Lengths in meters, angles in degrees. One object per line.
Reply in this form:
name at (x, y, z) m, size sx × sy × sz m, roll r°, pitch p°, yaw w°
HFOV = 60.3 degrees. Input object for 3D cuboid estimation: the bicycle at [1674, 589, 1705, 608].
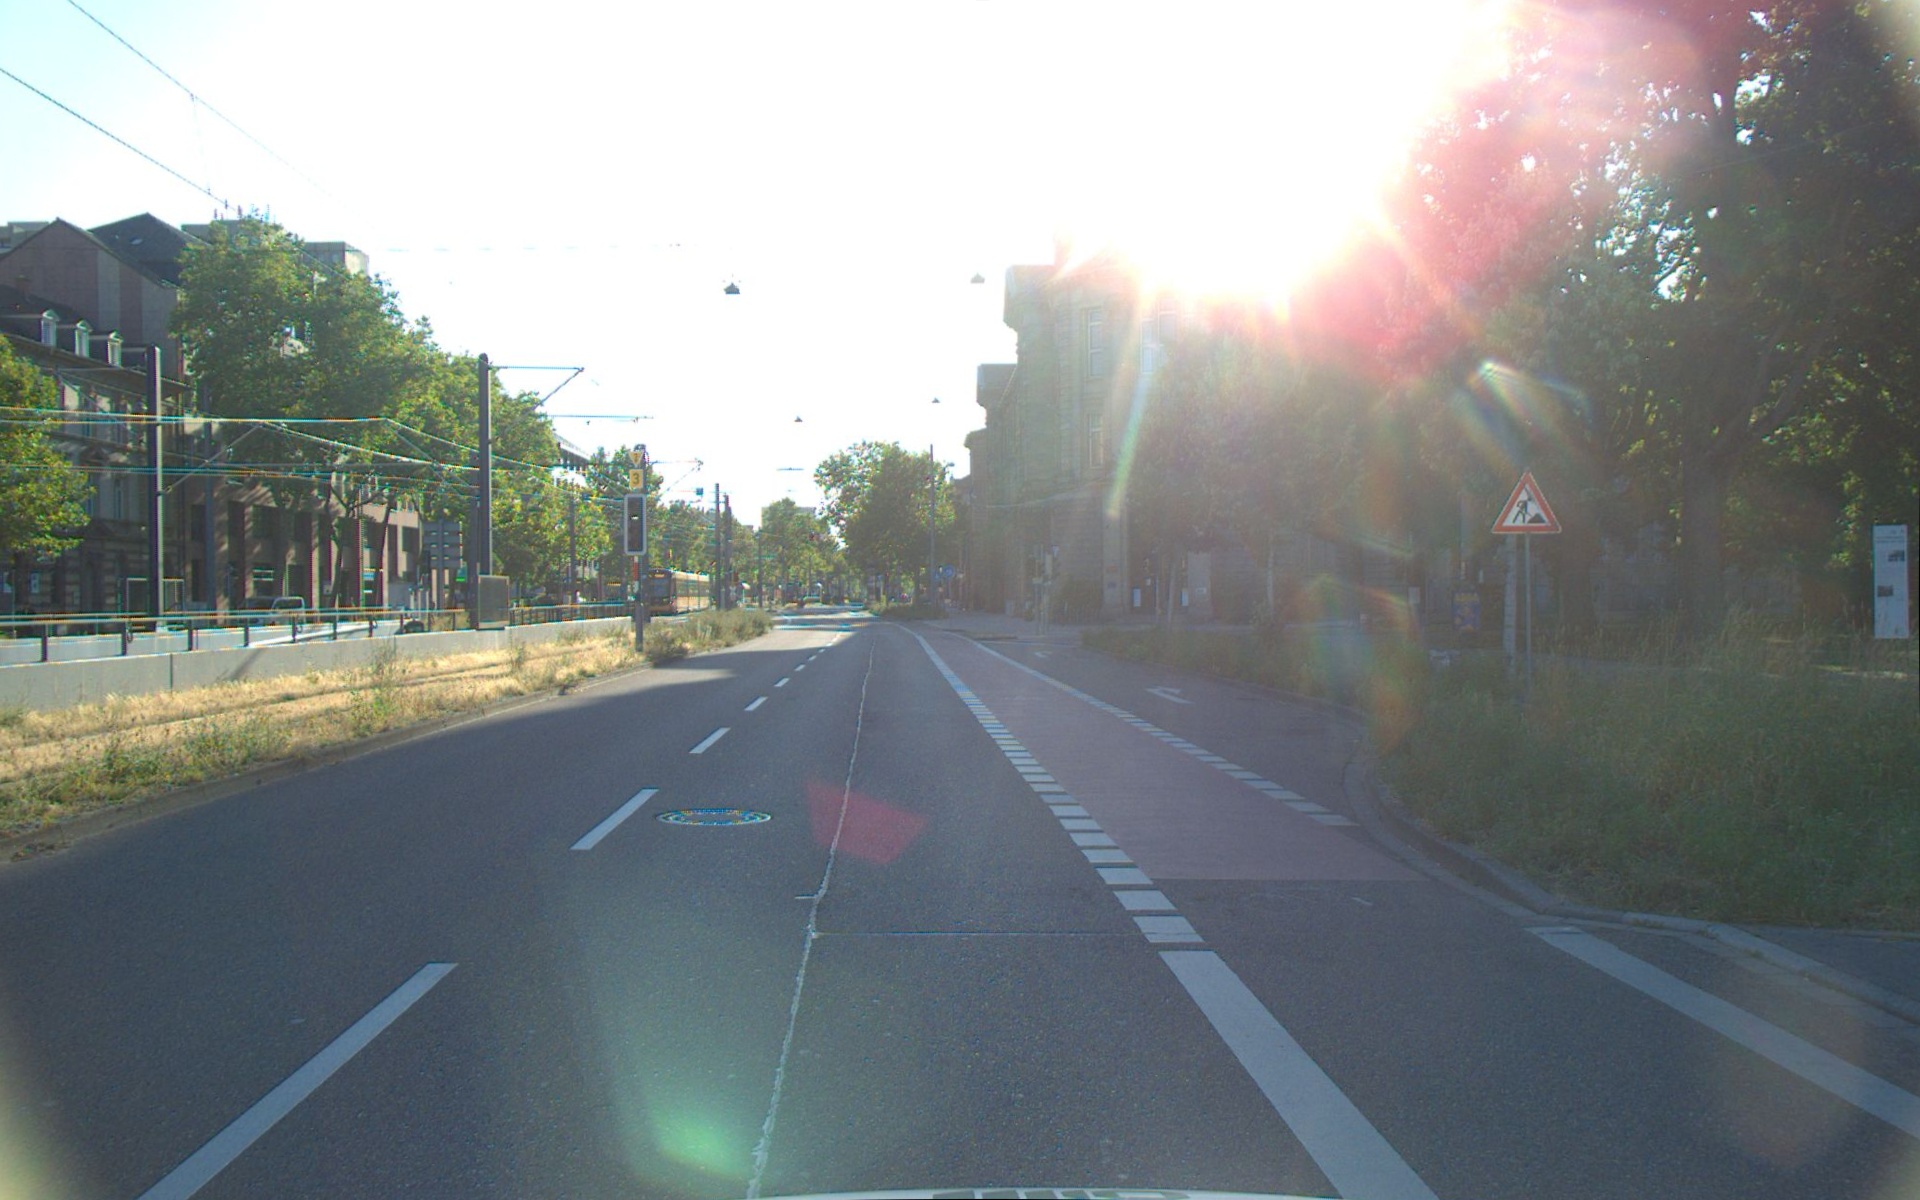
bicycle at (44.140, -0.080, 100.056) m, size 1.960 × 1.120 × 0.844 m, roll -1°, pitch 2°, yaw -37°

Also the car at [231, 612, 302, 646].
car at (-35.204, 1.450, 84.040) m, size 1.725 × 1.612 × 4.733 m, roll -1°, pitch 0°, yaw -2°

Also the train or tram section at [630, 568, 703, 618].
train or tram section at (-23.192, -0.526, 131.694) m, size 3.049 × 3.621 × 17.473 m, roll -1°, pitch 0°, yaw -1°

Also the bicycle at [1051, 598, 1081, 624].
bicycle at (5.124, 0.527, 79.862) m, size 0.849 × 1.217 × 2.240 m, roll -1°, pitch 0°, yaw 20°

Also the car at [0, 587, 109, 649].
car at (-37.032, 0.717, 63.641) m, size 7.130 × 2.306 × 2.466 m, roll -1°, pitch 0°, yaw -8°
